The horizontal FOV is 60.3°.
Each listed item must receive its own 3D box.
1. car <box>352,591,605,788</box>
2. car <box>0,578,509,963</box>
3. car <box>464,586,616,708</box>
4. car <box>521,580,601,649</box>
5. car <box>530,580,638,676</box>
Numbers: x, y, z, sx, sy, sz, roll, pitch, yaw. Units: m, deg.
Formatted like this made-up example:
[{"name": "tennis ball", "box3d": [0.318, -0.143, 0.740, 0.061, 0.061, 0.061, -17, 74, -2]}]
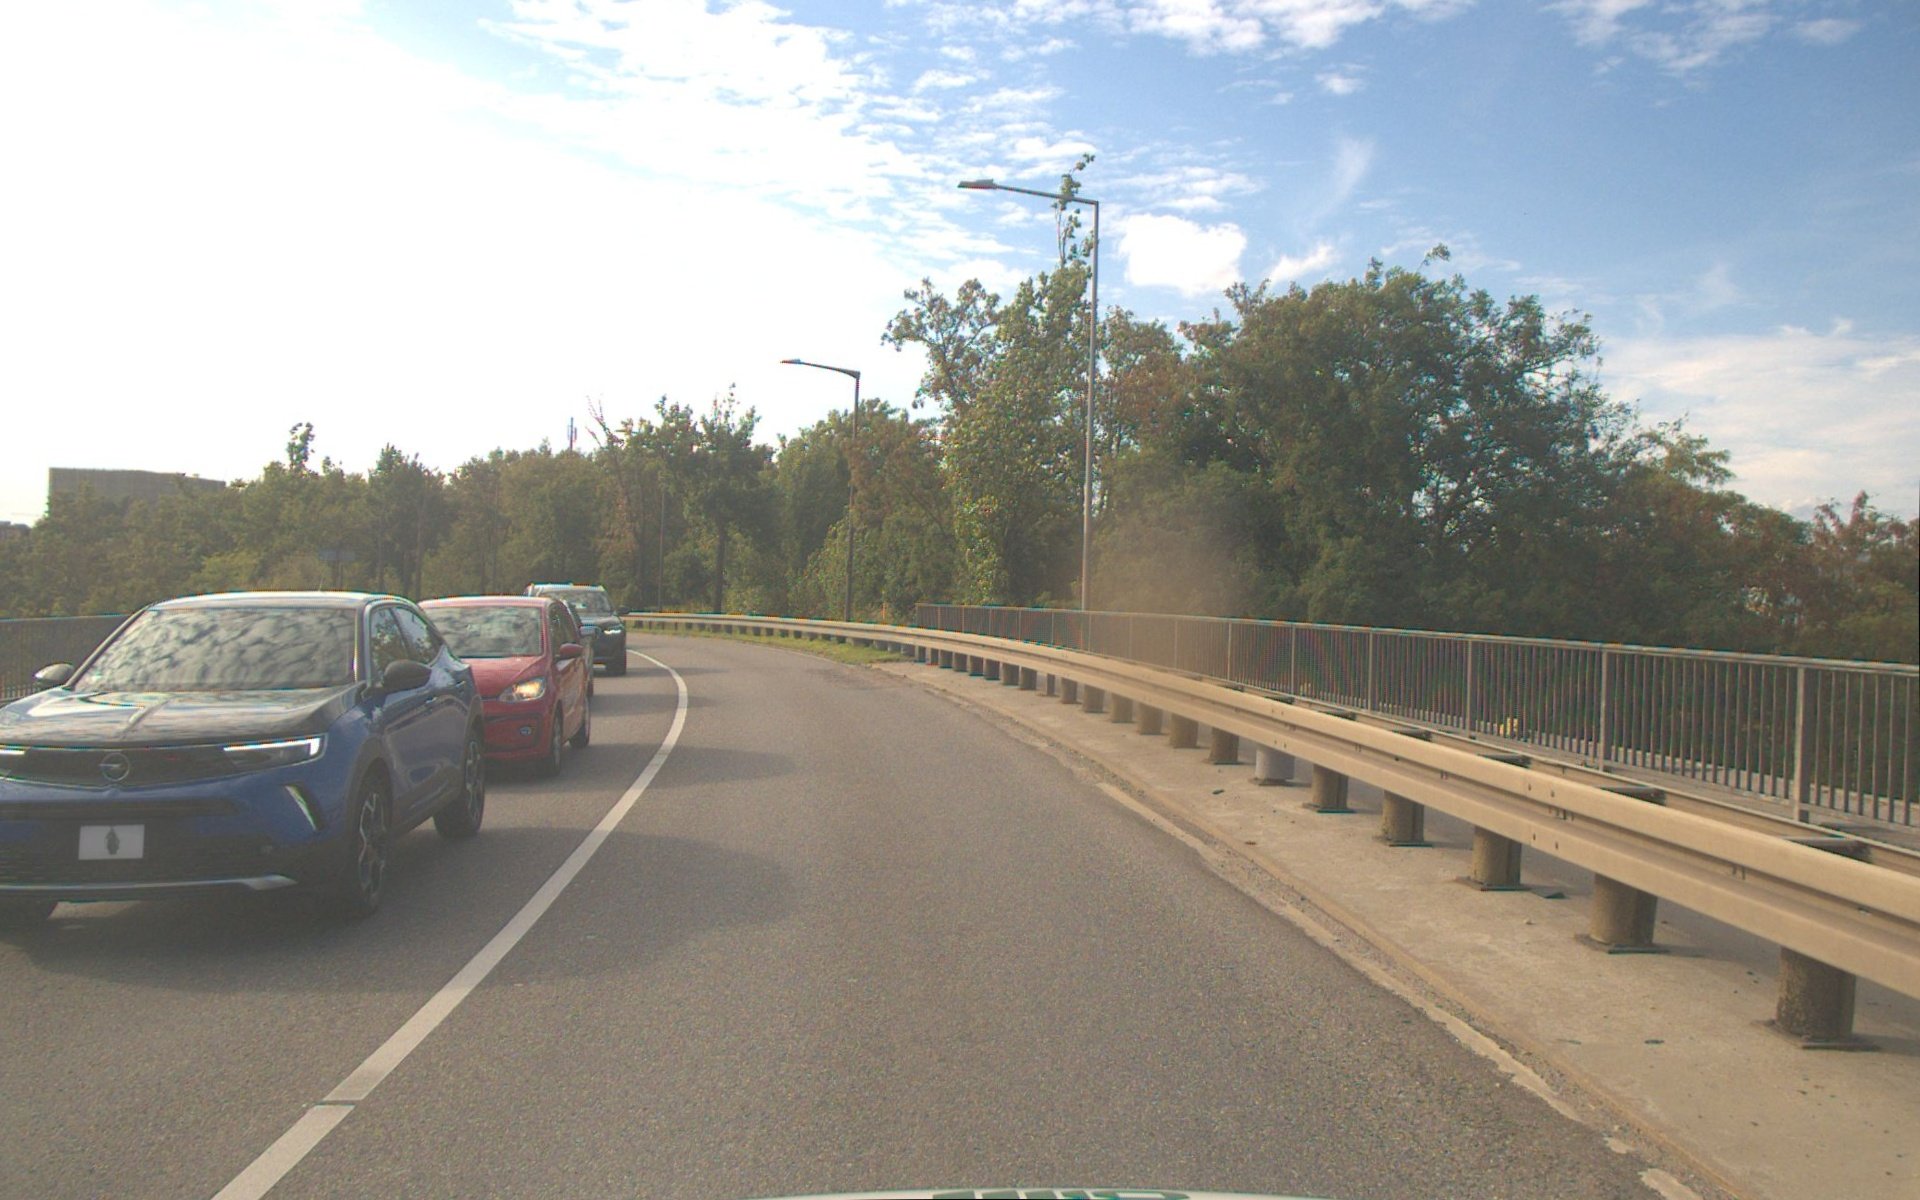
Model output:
[{"name": "car", "box3d": [-4.129, 0.678, 14.703, 1.569, 1.490, 3.730, -1, 0, -7]}, {"name": "car", "box3d": [-3.662, 0.688, 8.793, 1.764, 1.546, 4.003, -1, 0, -6]}, {"name": "car", "box3d": [-5.853, 0.584, 23.464, 1.700, 1.480, 4.256, -1, 1, -9]}, {"name": "car", "box3d": [-11.561, 0.389, 47.699, 1.871, 1.842, 5.377, -1, 0, -18]}, {"name": "car", "box3d": [-7.163, 0.491, 31.876, 1.856, 1.678, 4.629, -1, 0, -11]}]
